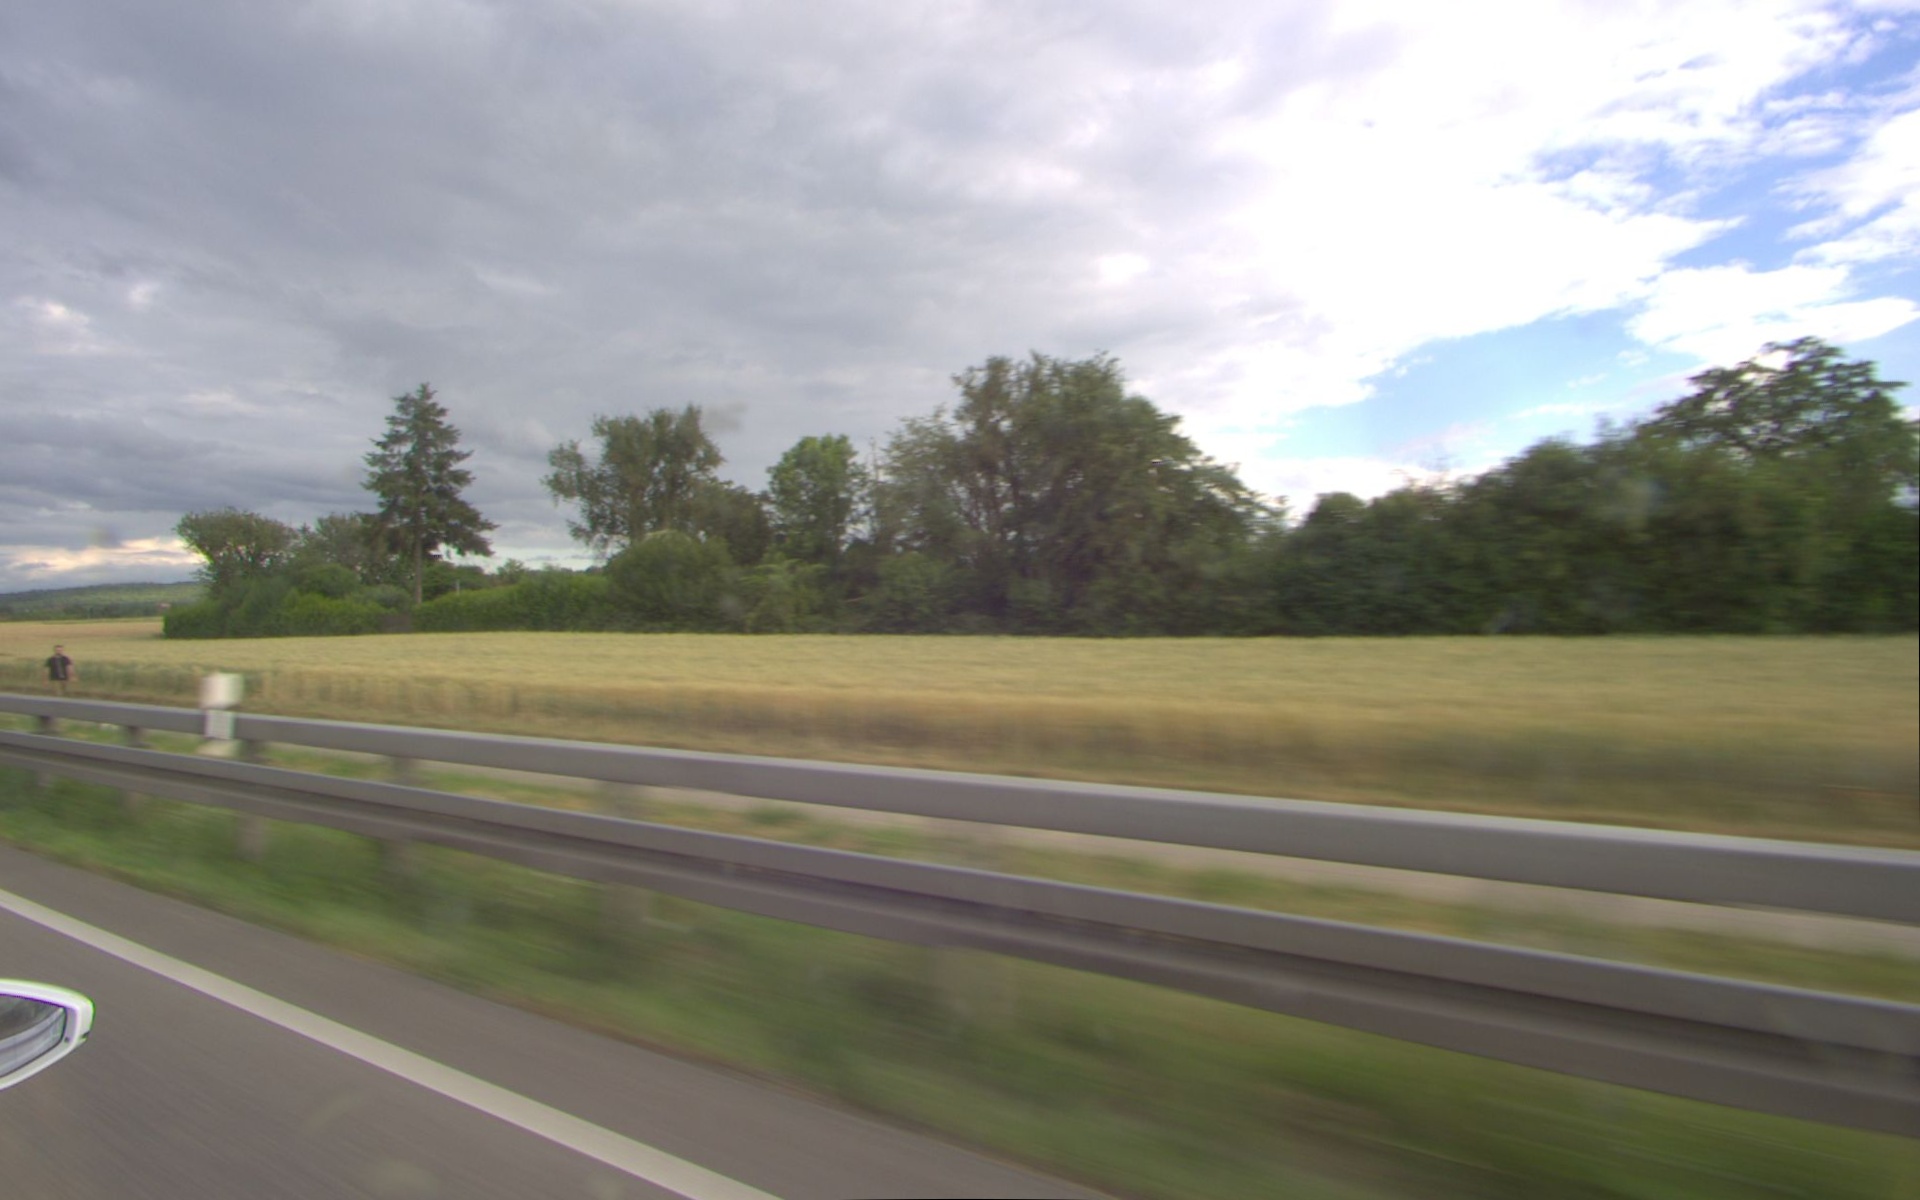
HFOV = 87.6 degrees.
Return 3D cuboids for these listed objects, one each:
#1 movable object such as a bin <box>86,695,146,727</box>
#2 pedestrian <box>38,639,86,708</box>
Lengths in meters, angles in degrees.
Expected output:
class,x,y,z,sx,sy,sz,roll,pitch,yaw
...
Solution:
class,x,y,z,sx,sy,sz,roll,pitch,yaw
movable object such as a bin,-19.566,2.560,23.205,1.218,0.653,0.731,-1,-3,32
pedestrian,-25.465,2.067,28.394,0.927,1.891,0.770,-1,-2,32
